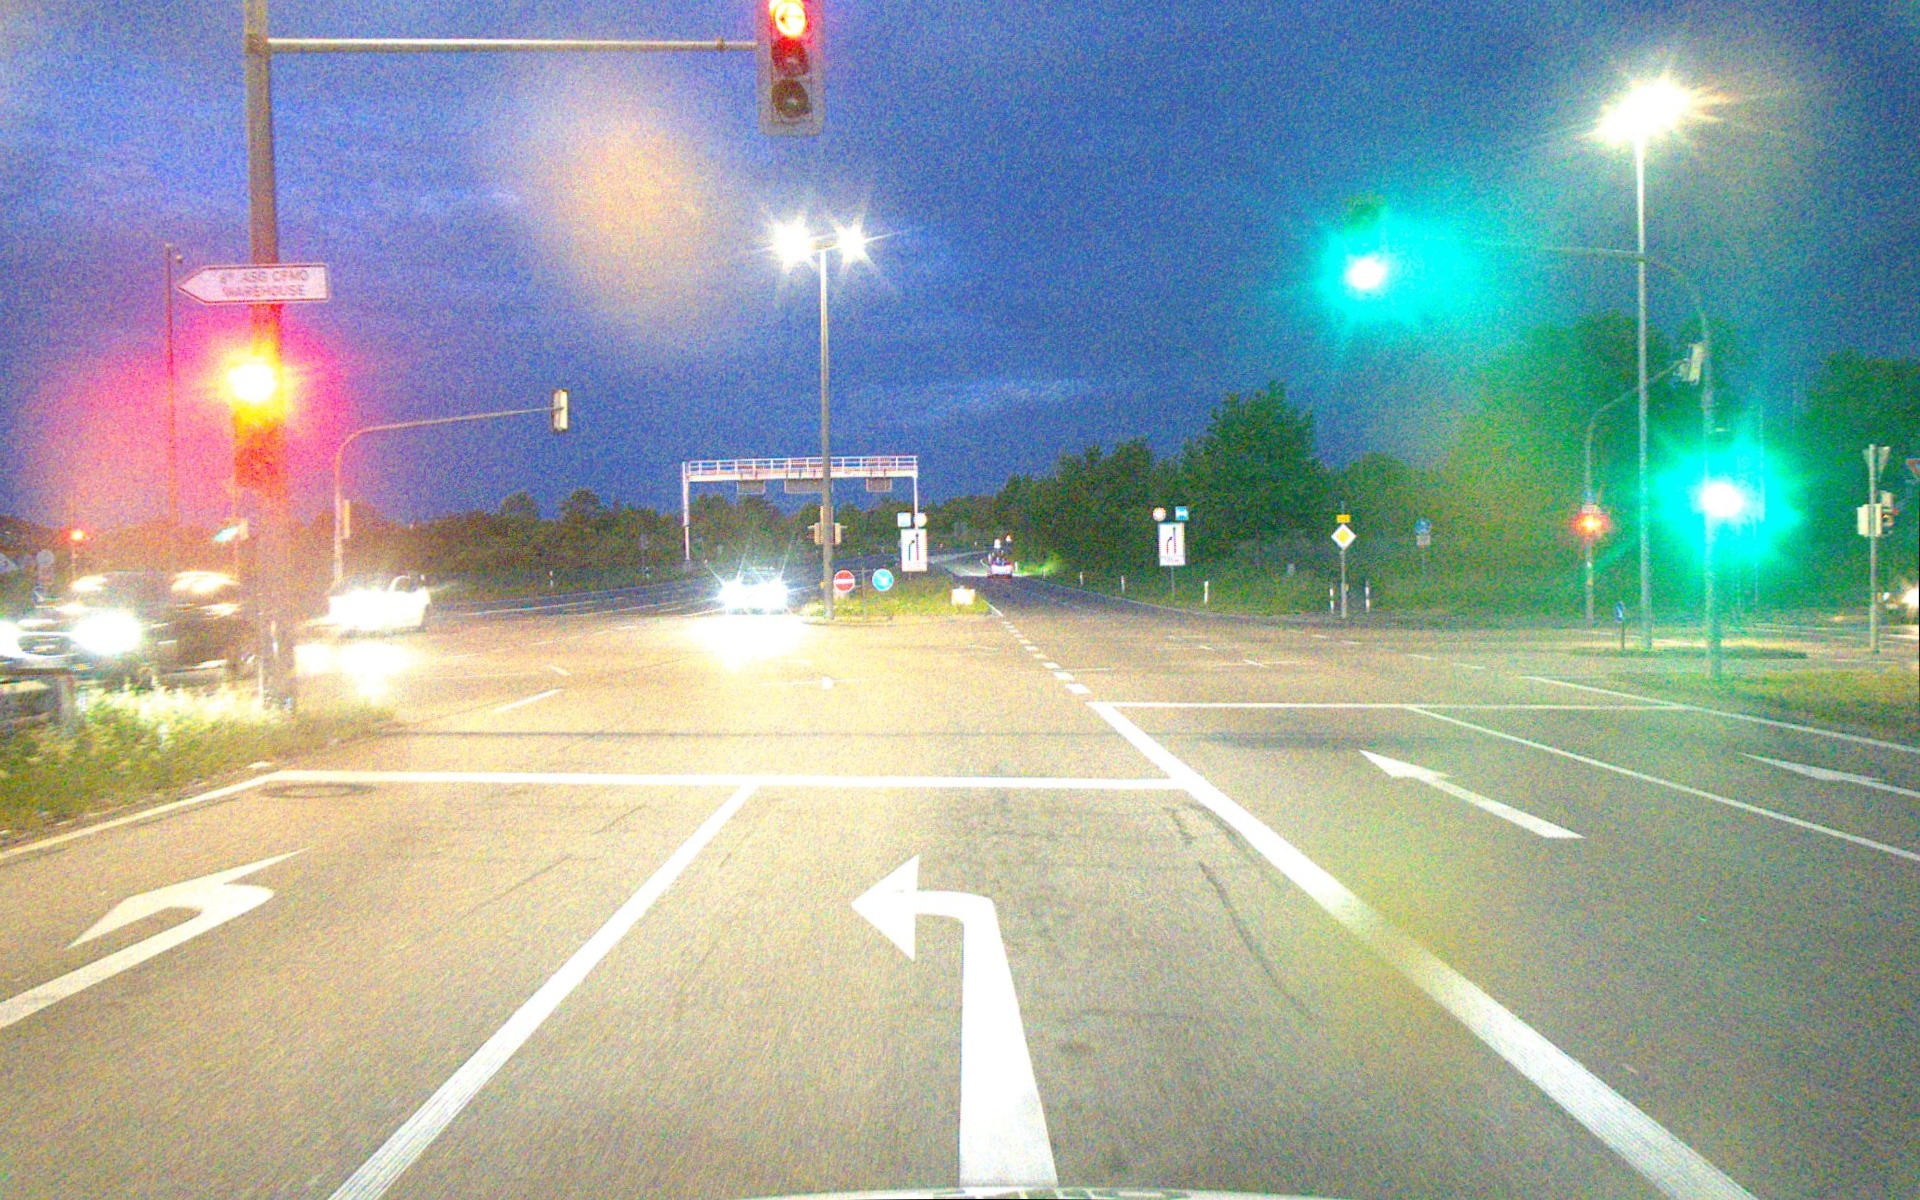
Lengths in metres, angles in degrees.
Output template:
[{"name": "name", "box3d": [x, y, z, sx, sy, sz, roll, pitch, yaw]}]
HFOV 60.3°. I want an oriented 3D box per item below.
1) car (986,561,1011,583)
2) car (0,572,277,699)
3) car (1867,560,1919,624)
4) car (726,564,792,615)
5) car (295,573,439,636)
[{"name": "car", "box3d": [3.157, -2.257, 134.332, 1.966, 1.639, 3.846, 1, 0, 2]}, {"name": "car", "box3d": [-11.002, 0.384, 22.043, 1.953, 1.507, 4.681, 0, 1, -2]}, {"name": "car", "box3d": [26.041, -0.235, 43.031, 3.908, 1.596, 1.899, -1, 1, -4]}, {"name": "car", "box3d": [-7.084, -0.400, 58.636, 1.953, 1.728, 3.999, 0, 1, -2]}, {"name": "car", "box3d": [-14.279, 0.070, 40.102, 1.953, 1.450, 4.531, 0, 1, -2]}]
